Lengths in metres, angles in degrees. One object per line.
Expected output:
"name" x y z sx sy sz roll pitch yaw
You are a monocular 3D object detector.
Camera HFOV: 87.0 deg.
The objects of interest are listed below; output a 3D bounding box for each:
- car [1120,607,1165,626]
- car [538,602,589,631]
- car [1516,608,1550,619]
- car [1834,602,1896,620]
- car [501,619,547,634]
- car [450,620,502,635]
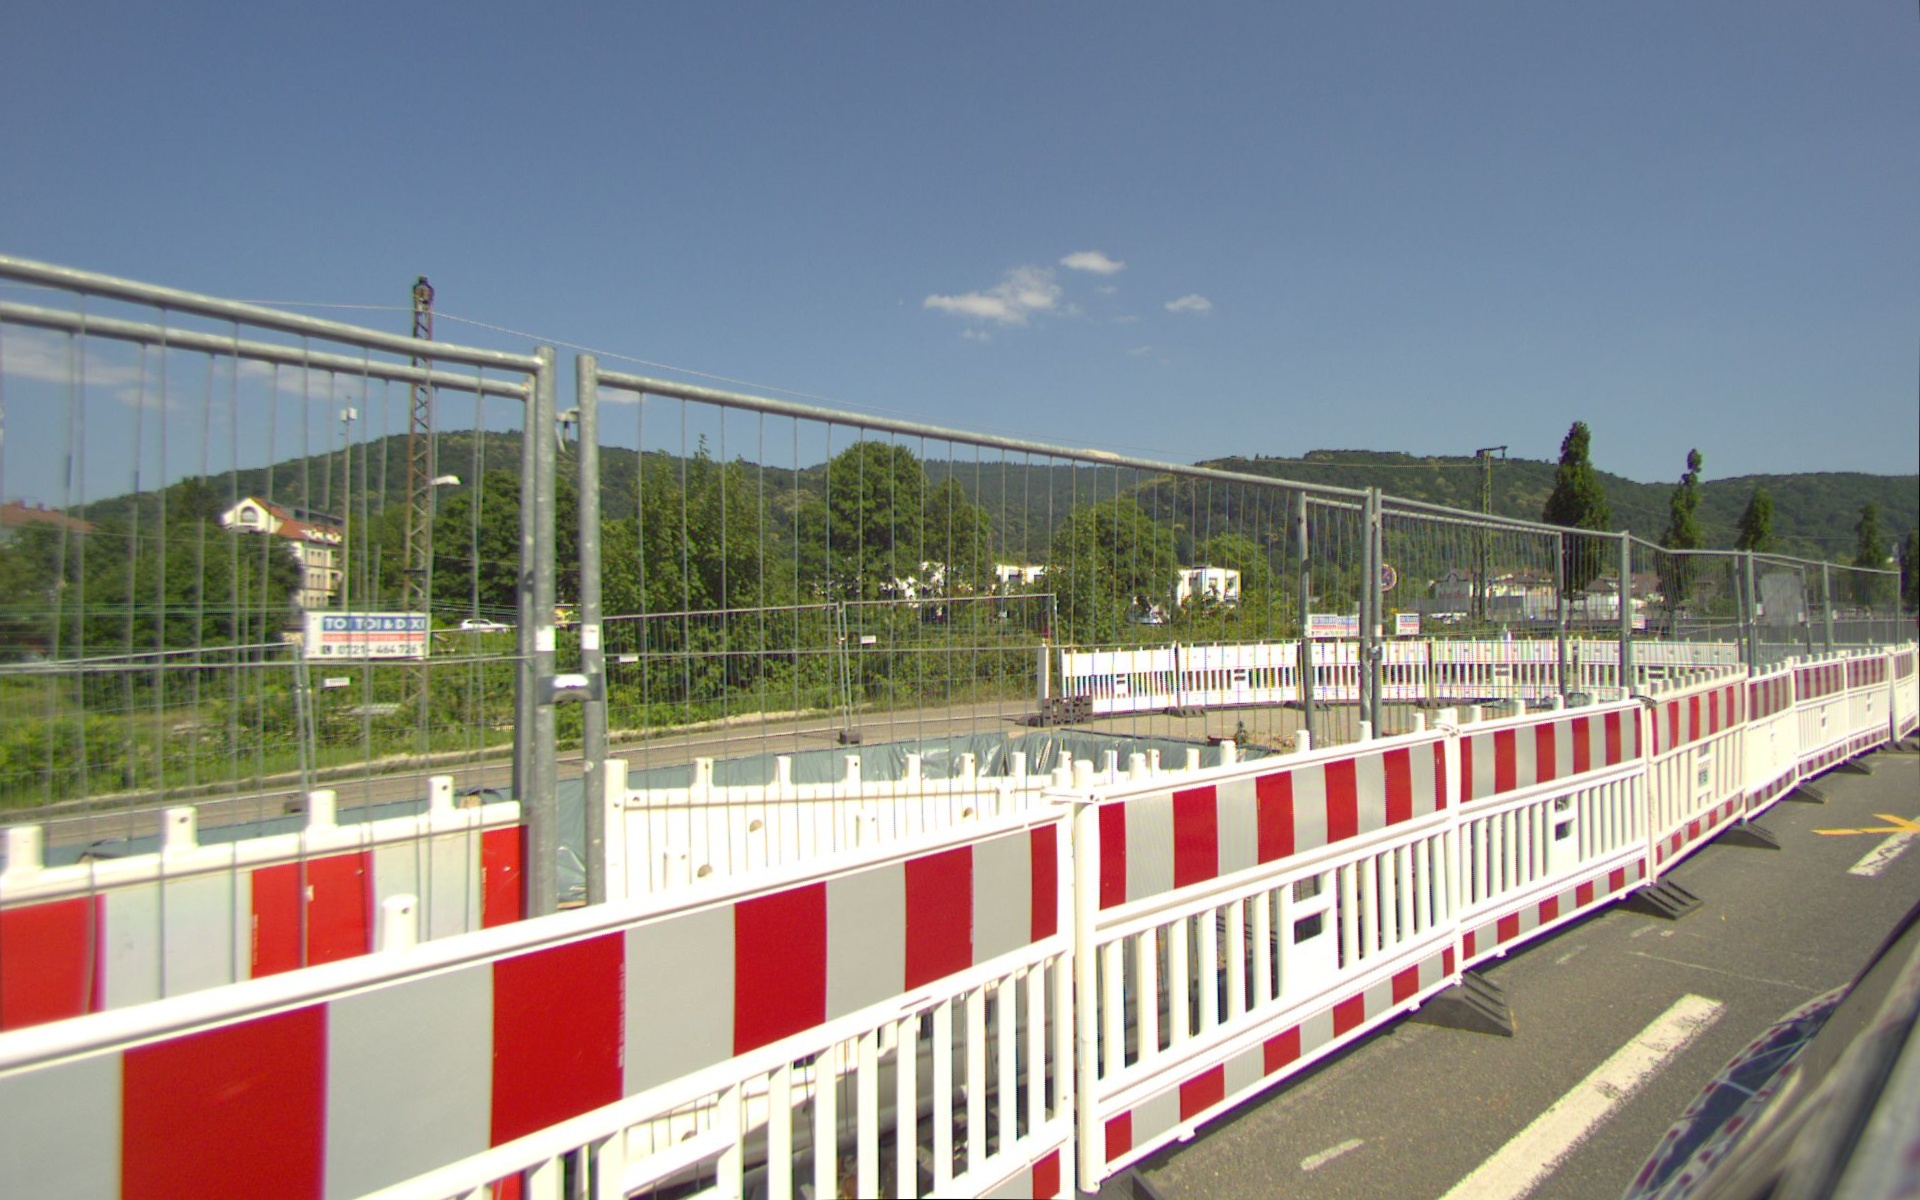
"car" 23.721 2.166 131.530 5.406 2.130 2.137 -1 -5 -26
"car" -39.902 1.646 101.948 4.543 2.888 1.869 0 -1 -16
"car" 83.294 1.996 147.196 1.794 1.510 4.376 -3 -1 -9
"car" 90.415 1.114 101.217 1.794 1.647 4.376 -3 -1 -9
"car" -42.472 2.607 98.609 3.764 1.384 1.785 0 -1 -8
"car" -46.914 2.623 98.171 4.228 1.384 1.868 0 -1 -7
